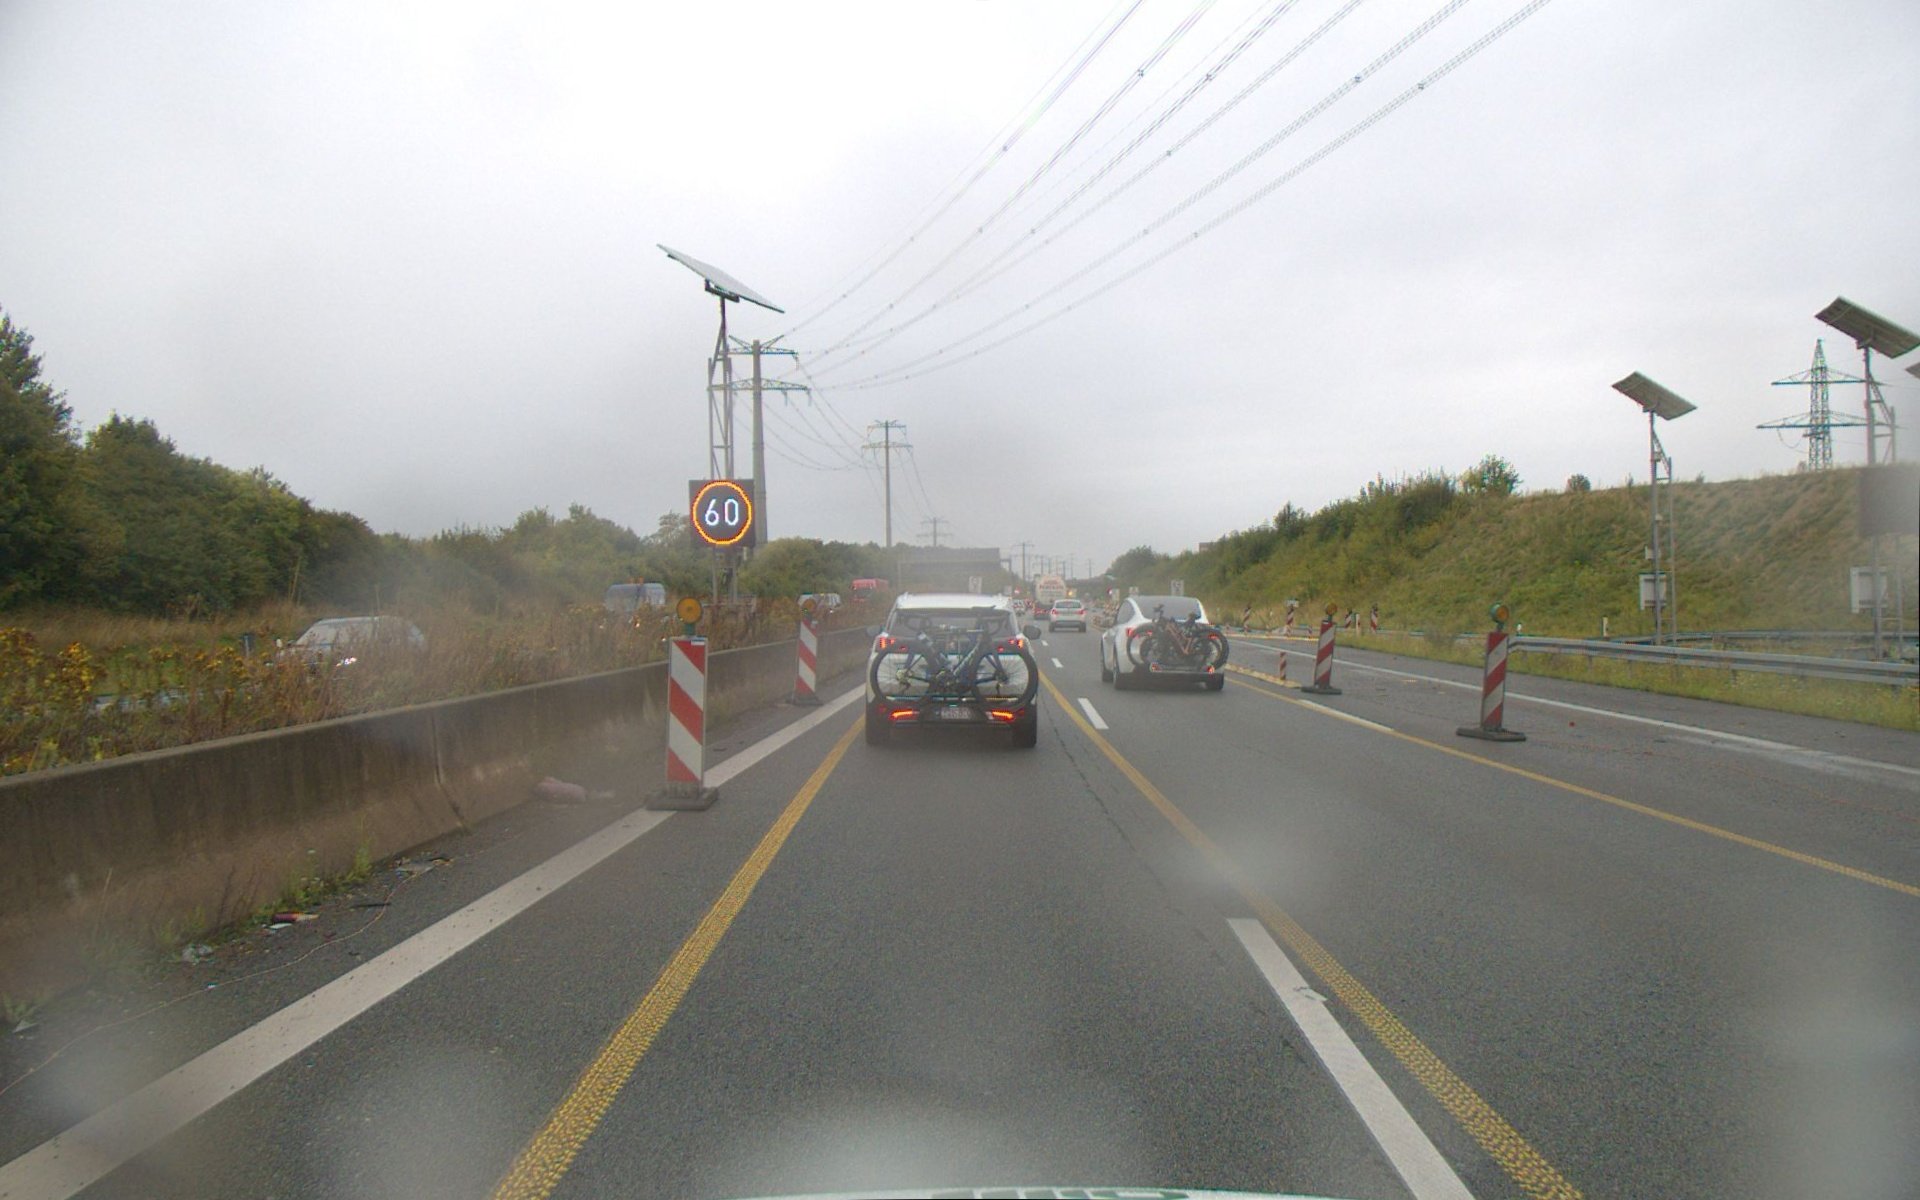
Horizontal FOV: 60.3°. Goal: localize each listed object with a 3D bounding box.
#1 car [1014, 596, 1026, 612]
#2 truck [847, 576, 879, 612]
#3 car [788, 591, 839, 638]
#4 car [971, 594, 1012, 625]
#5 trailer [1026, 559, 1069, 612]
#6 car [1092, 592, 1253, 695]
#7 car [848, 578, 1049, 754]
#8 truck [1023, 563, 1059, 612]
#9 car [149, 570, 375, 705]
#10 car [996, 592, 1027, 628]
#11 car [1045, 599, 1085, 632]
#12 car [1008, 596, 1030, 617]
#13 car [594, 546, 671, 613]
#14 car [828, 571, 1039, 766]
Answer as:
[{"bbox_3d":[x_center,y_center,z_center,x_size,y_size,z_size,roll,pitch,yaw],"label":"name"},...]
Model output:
[{"bbox_3d":[7.945,0.530,219.174,1.619,2.049,4.001,0,0,3],"label":"car"},{"bbox_3d":[-10.002,-0.627,170.956,2.962,3.593,4.927,1,-1,1],"label":"truck"},{"bbox_3d":[-6.793,0.676,77.219,1.731,2.049,5.255,2,0,2],"label":"car"},{"bbox_3d":[1.639,0.485,87.126,1.953,1.611,3.999,0,0,-1],"label":"car"},{"bbox_3d":[6.856,-1.079,131.147,2.584,3.961,10.540,1,-1,-1],"label":"trailer"},{"bbox_3d":[3.657,0.709,29.566,2.004,1.624,5.800,1,0,-1],"label":"car"},{"bbox_3d":[-0.063,0.622,17.929,1.888,1.639,4.596,0,0,1],"label":"car"},{"bbox_3d":[6.725,-1.011,137.621,2.591,3.959,4.029,1,-1,-1],"label":"truck"},{"bbox_3d":[-11.444,0.603,27.436,1.952,2.049,4.000,1,-1,1],"label":"car"},{"bbox_3d":[3.534,0.676,114.088,1.953,2.047,4.002,1,5,-1],"label":"car"},{"bbox_3d":[5.043,0.744,80.049,1.831,1.561,4.198,0,0,2],"label":"car"},{"bbox_3d":[5.859,0.671,163.842,1.953,2.049,3.999,1,-1,-1],"label":"car"},{"bbox_3d":[-13.756,-0.816,69.819,2.008,2.655,5.847,1,-1,1],"label":"car"},{"bbox_3d":[-0.234,0.639,17.585,1.952,1.791,4.000,-1,0,0],"label":"car"}]
